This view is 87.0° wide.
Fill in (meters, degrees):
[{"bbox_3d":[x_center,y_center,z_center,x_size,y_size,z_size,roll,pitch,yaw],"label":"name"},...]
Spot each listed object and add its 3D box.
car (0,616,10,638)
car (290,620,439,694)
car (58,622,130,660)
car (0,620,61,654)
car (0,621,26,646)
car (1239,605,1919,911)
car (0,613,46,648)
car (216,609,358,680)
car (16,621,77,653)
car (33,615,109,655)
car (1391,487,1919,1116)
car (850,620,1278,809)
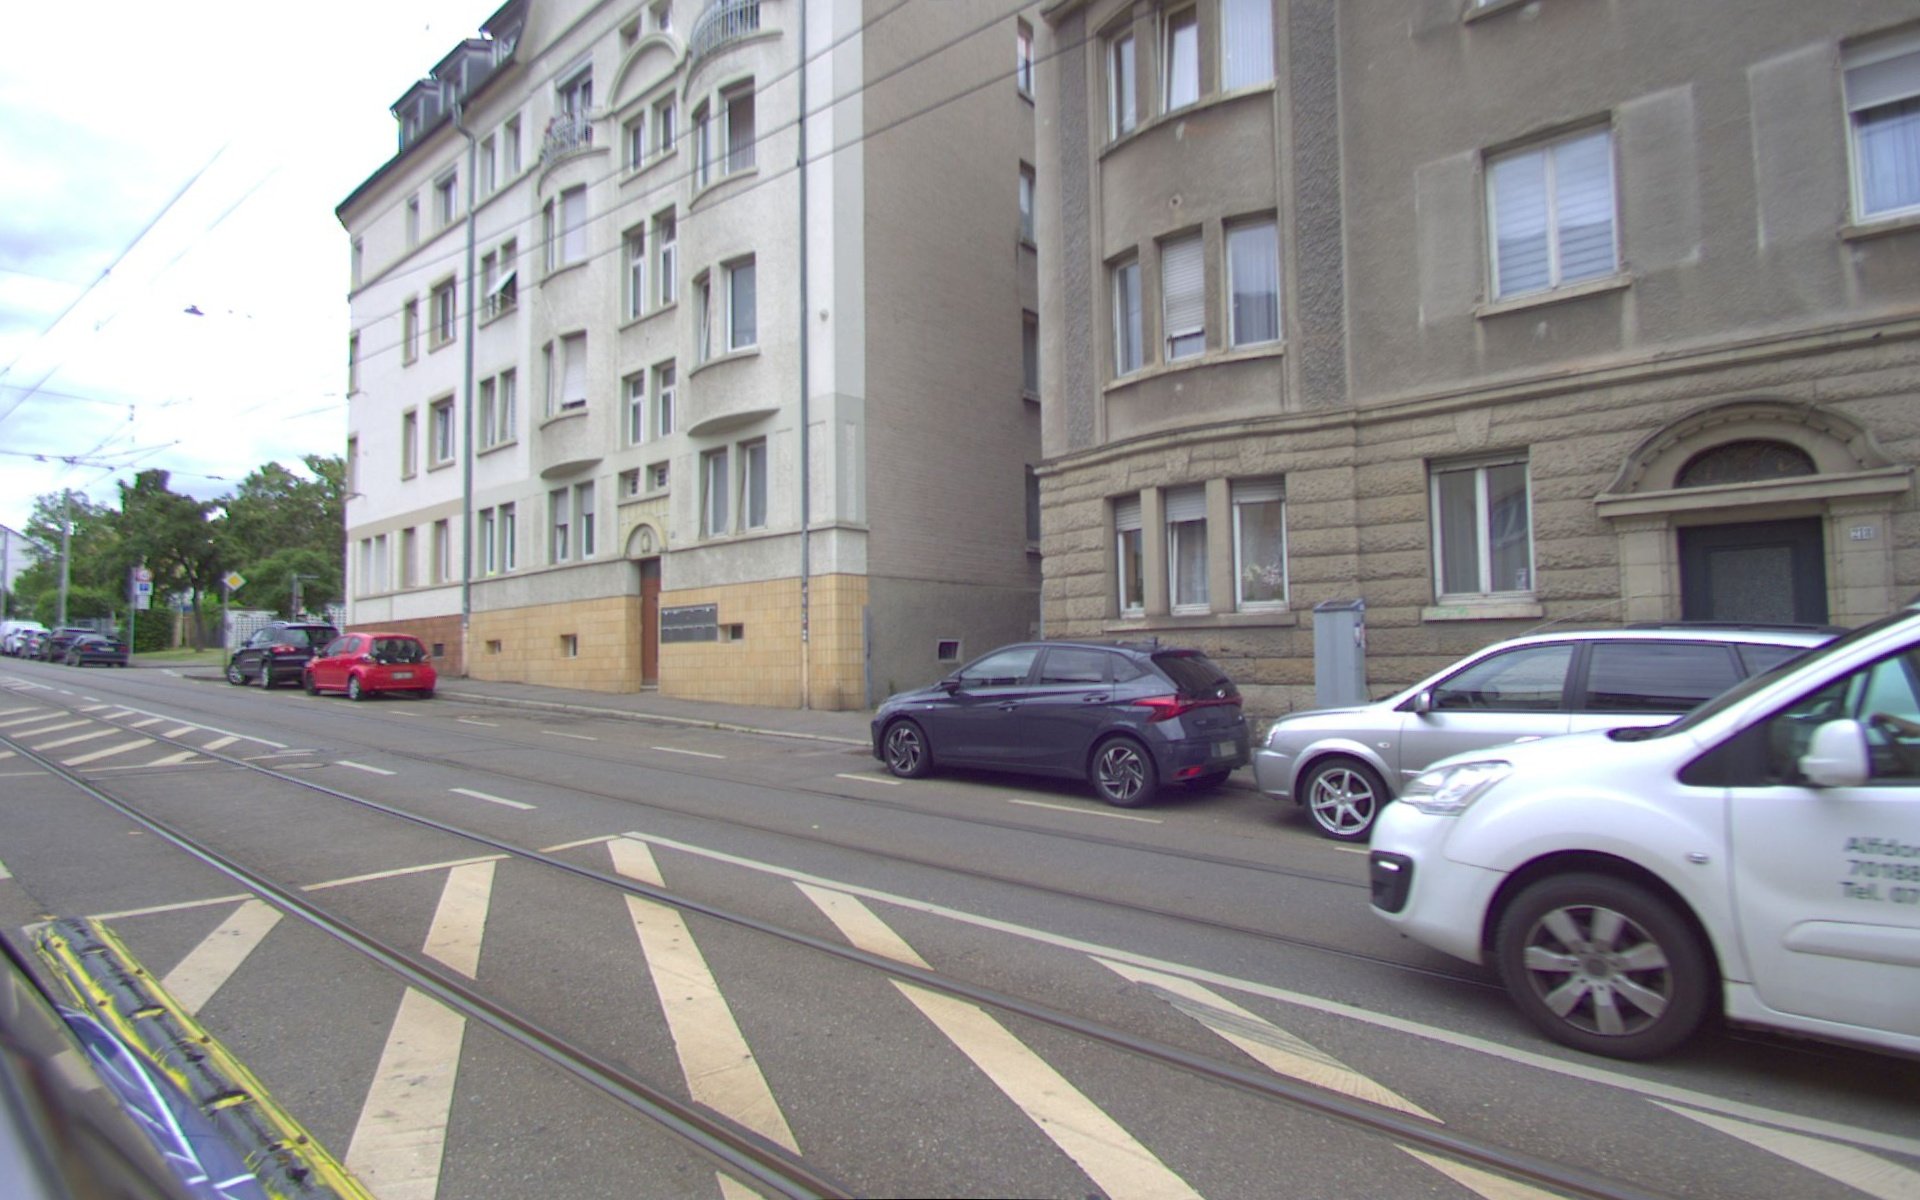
[{"bbox_3d":[-63.957,1.733,66.370,4.436,1.397,1.821,0,-3,40],"label":"car"},{"bbox_3d":[-13.494,1.246,22.882,3.740,1.474,1.605,0,-3,38],"label":"car"},{"bbox_3d":[-36.628,1.704,42.787,4.153,1.489,1.604,0,-3,40],"label":"car"},{"bbox_3d":[-50.518,1.969,54.841,4.629,1.699,1.949,0,-3,40],"label":"car"},{"bbox_3d":[-59.086,2.038,62.207,4.514,1.397,1.821,0,-3,40],"label":"car"},{"bbox_3d":[4.328,0.898,7.056,4.347,1.616,1.604,-1,-3,40],"label":"car"},{"bbox_3d":[-54.593,1.731,58.484,4.731,1.927,1.949,0,-3,40],"label":"car"},{"bbox_3d":[-17.478,1.119,26.207,4.398,1.658,1.848,0,-3,40],"label":"car"},{"bbox_3d":[-46.131,1.872,51.095,3.866,1.520,1.721,0,-3,40],"label":"car"},{"bbox_3d":[-41.334,1.608,47.033,4.440,1.699,1.949,0,-3,40],"label":"car"},{"bbox_3d":[3.883,0.603,3.284,4.215,1.832,1.901,-1,-2,41],"label":"car"},{"bbox_3d":[0.903,0.983,10.102,4.029,1.474,1.604,0,-3,40],"label":"car"}]
